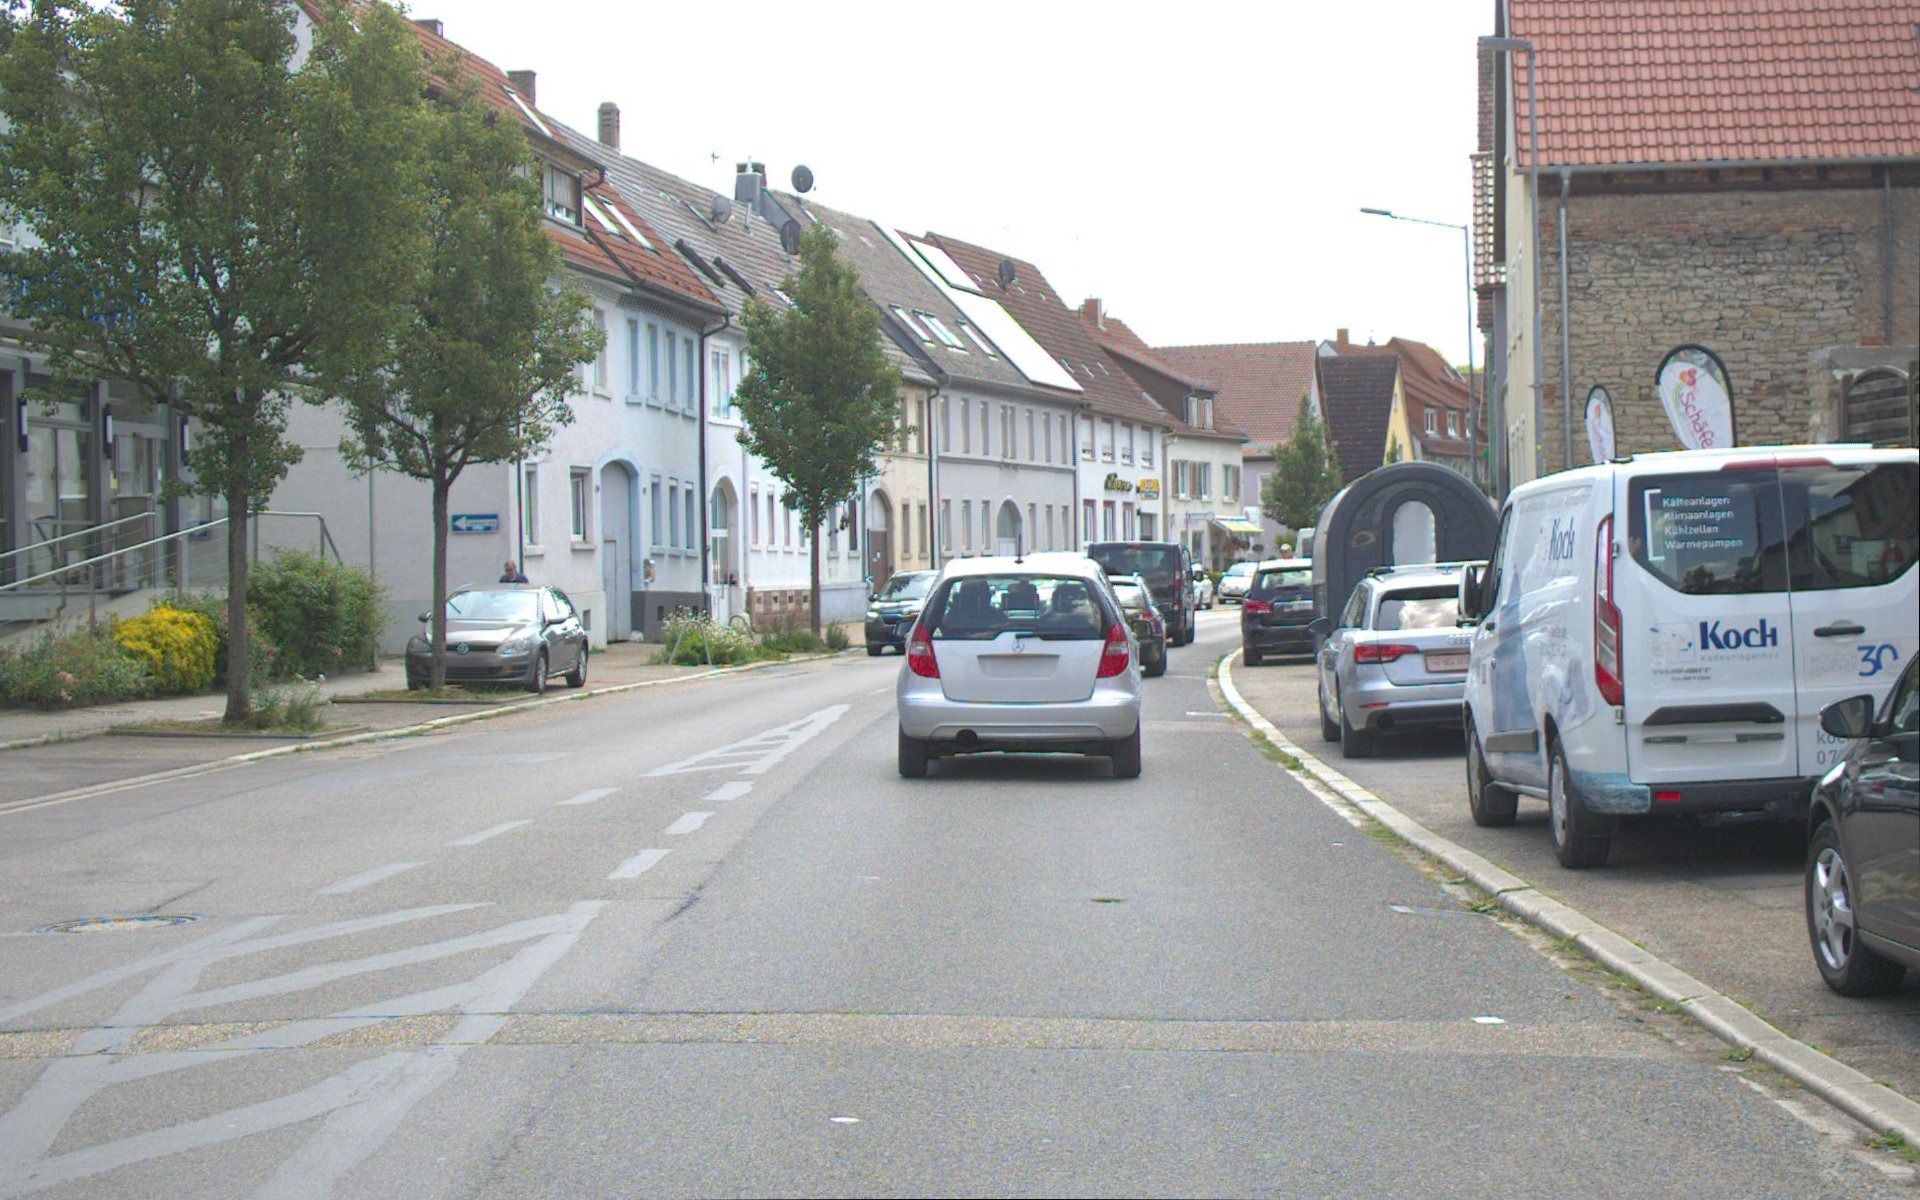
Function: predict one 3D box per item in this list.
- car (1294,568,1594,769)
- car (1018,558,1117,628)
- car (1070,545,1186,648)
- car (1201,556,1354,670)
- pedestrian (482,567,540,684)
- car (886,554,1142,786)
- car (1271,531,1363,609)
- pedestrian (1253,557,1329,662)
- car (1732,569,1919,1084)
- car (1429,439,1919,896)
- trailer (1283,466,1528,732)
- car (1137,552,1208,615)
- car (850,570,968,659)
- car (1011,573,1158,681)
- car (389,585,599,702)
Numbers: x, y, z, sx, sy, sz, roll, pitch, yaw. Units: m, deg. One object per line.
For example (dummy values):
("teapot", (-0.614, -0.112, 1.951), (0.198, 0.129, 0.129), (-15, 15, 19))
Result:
("car", (3.838, 0.493, 27.994), (1.875, 1.476, 4.674), (-1, 1, 1))
("car", (3.054, -0.215, 96.704), (2.092, 1.877, 3.998), (-1, 0, 12))
("car", (3.247, -0.058, 65.837), (1.769, 1.881, 4.445), (1, 0, 8))
("car", (4.839, 0.168, 51.980), (1.994, 1.554, 3.999), (-3, 0, 9))
("pedestrian", (-7.028, 0.392, 53.845), (0.739, 1.795, 0.642), (-2, -1, 3))
("car", (0.426, 0.490, 26.056), (1.769, 1.589, 4.000), (1, 0, 1))
("car", (10.790, -0.894, 103.775), (2.237, 2.215, 3.998), (-2, 0, 12))
("pedestrian", (5.879, 0.159, 60.995), (1.096, 1.815, 1.468), (-1, 0, 15))
("car", (3.680, 0.640, 10.460), (1.774, 1.490, 4.161), (-2, 0, 1))
("car", (3.758, 0.283, 18.096), (1.892, 1.975, 4.931), (-4, 0, 1))
("trailer", (4.212, -0.028, 32.998), (1.845, 2.346, 3.589), (-2, 1, 1))
("car", (7.112, -0.541, 114.596), (1.994, 2.007, 3.999), (-2, 0, 8))
("car", (-0.920, 0.242, 64.354), (1.743, 1.521, 4.019), (-3, 0, 5))
("car", (1.779, 0.365, 48.023), (1.945, 1.403, 3.999), (1, 0, 3))
("car", (-6.198, 0.546, 46.129), (1.805, 1.455, 4.157), (-1, 1, 7))
